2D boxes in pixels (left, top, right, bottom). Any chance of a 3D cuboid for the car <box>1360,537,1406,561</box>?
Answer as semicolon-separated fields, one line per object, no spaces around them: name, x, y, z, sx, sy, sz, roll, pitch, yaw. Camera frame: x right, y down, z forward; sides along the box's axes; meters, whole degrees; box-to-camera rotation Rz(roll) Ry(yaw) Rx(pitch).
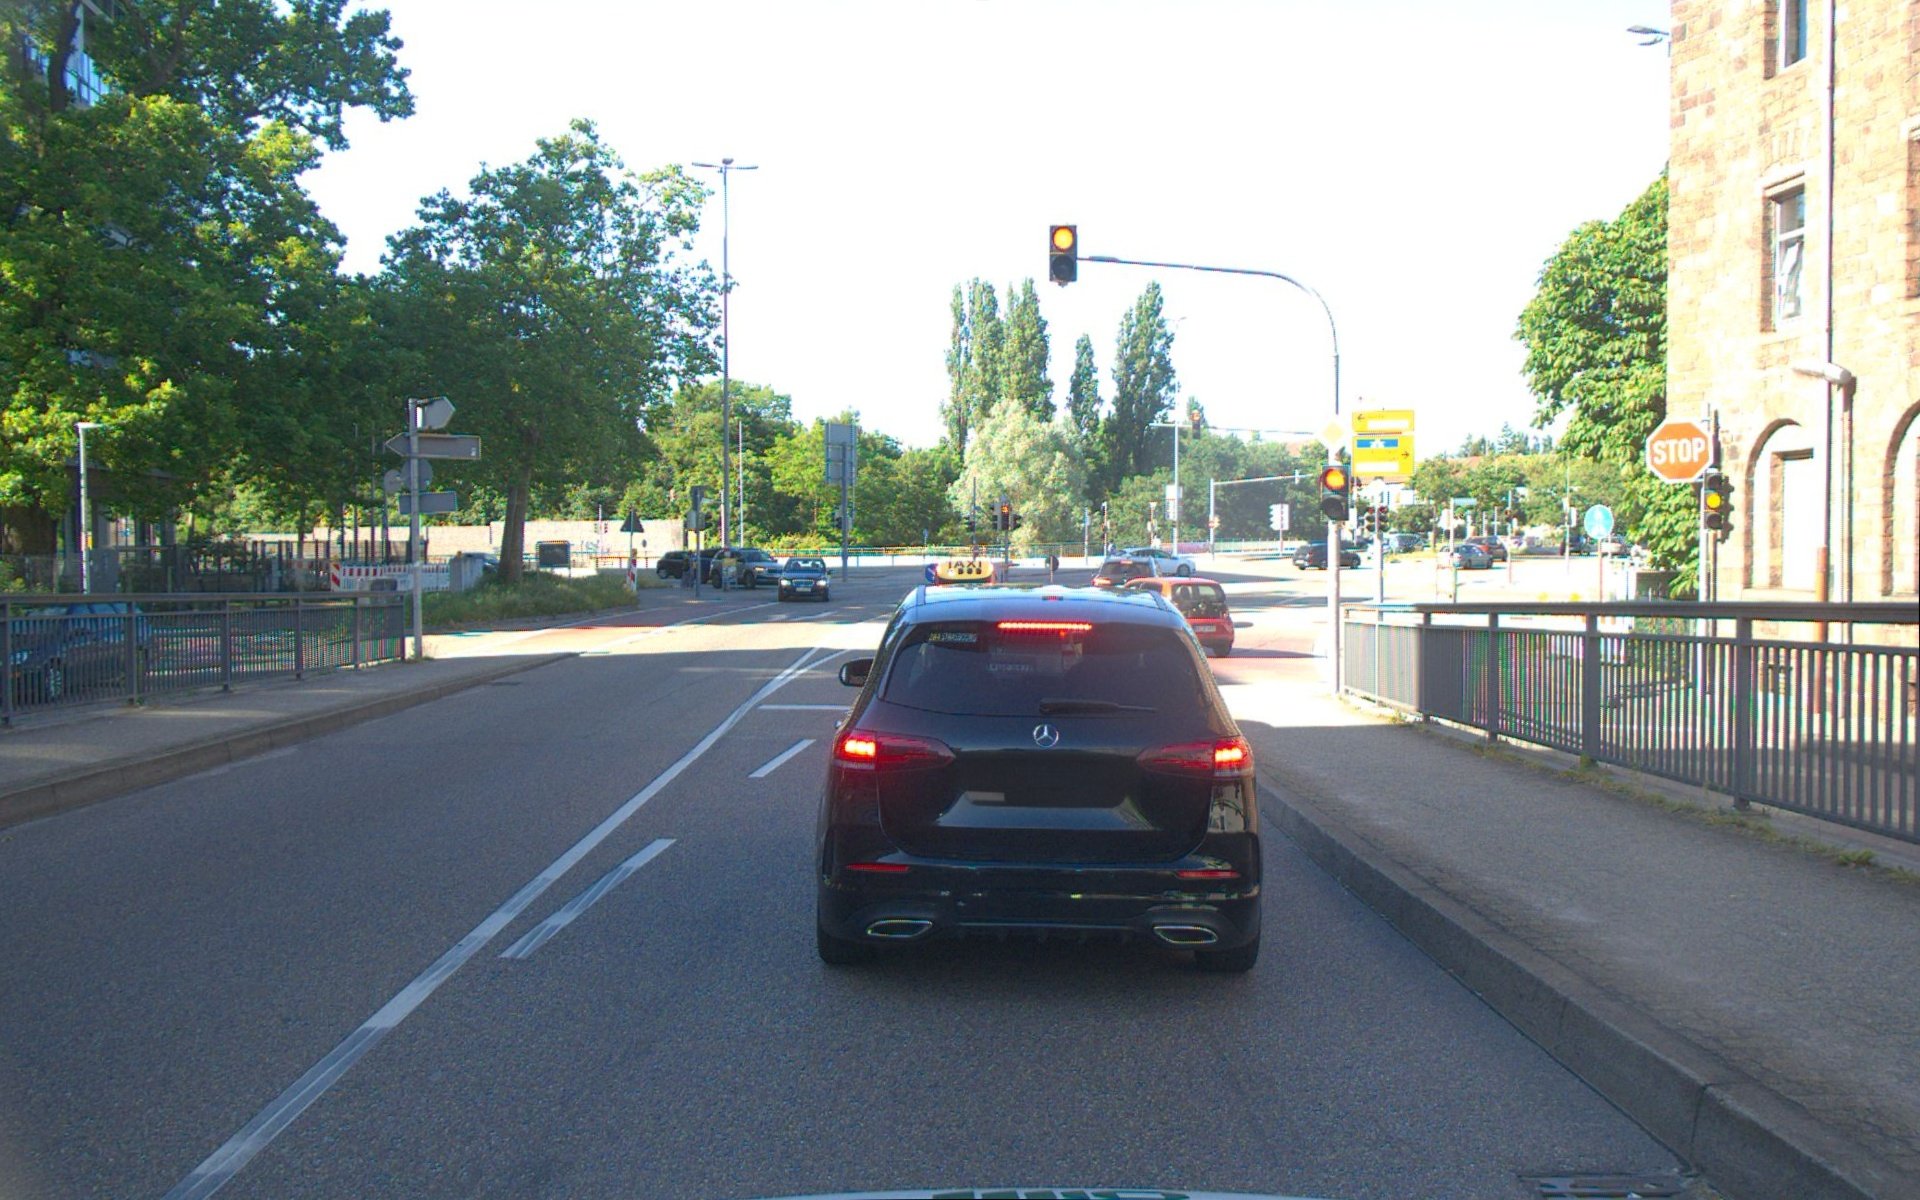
car;29.445;-3.536;115.162;1.846;1.605;3.987;1;2;35

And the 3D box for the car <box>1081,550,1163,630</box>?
car;4.218;-0.323;43.572;1.686;1.843;4.299;3;3;0

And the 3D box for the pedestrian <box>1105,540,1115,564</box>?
pedestrian;9.780;-3.133;108.010;0.443;1.613;0.499;0;2;40

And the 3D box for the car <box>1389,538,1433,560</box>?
car;32.848;-3.722;120.371;1.846;1.605;3.987;1;2;35

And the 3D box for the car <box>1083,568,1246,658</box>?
car;4.034;0.202;33.059;1.699;1.548;3.460;-1;3;-25

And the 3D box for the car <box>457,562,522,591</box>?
car;-26.182;-1.298;91.939;3.931;1.524;1.733;0;0;44

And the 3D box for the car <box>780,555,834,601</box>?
car;-5.180;-0.769;56.369;1.707;1.431;4.198;-1;2;-4

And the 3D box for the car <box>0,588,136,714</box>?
car;-14.758;0.726;25.794;1.814;1.722;4.000;0;2;-1

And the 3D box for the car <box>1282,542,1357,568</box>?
car;20.286;-2.528;93.314;4.556;1.317;1.858;-4;4;-42

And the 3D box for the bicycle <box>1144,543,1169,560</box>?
bicycle;12.920;-3.163;108.598;0.518;1.068;1.977;0;2;43

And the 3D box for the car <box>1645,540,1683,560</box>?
car;57.103;-4.040;134.158;1.960;1.466;4.279;1;3;36

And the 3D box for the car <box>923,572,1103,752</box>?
car;0.522;0.537;16.720;1.606;1.556;3.475;-1;2;1

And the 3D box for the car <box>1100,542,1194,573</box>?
car;9.223;-2.088;81.635;4.221;1.389;1.996;-2;3;-9

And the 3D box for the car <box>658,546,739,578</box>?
car;-13.828;-1.993;87.351;3.914;1.574;1.887;1;0;31

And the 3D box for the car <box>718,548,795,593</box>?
car;-8.461;-1.245;68.515;1.784;1.651;3.963;0;3;-29

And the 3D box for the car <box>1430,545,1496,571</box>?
car;28.513;-2.370;93.702;1.963;1.317;4.572;1;3;39

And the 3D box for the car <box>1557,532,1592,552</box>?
car;46.711;-4.436;125.757;1.749;1.381;4.070;0;3;31

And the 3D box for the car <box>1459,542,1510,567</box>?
car;33.969;-2.968;107.117;1.959;1.480;4.539;1;3;34

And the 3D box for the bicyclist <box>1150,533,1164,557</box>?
bicyclist;12.921;-3.601;108.577;0.518;1.578;0.802;0;2;44

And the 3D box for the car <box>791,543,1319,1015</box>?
car;0.310;0.607;7.830;1.839;1.641;4.000;1;1;-1

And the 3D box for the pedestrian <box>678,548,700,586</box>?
pedestrian;-11.102;-1.362;67.836;0.690;1.552;0.744;1;1;10
